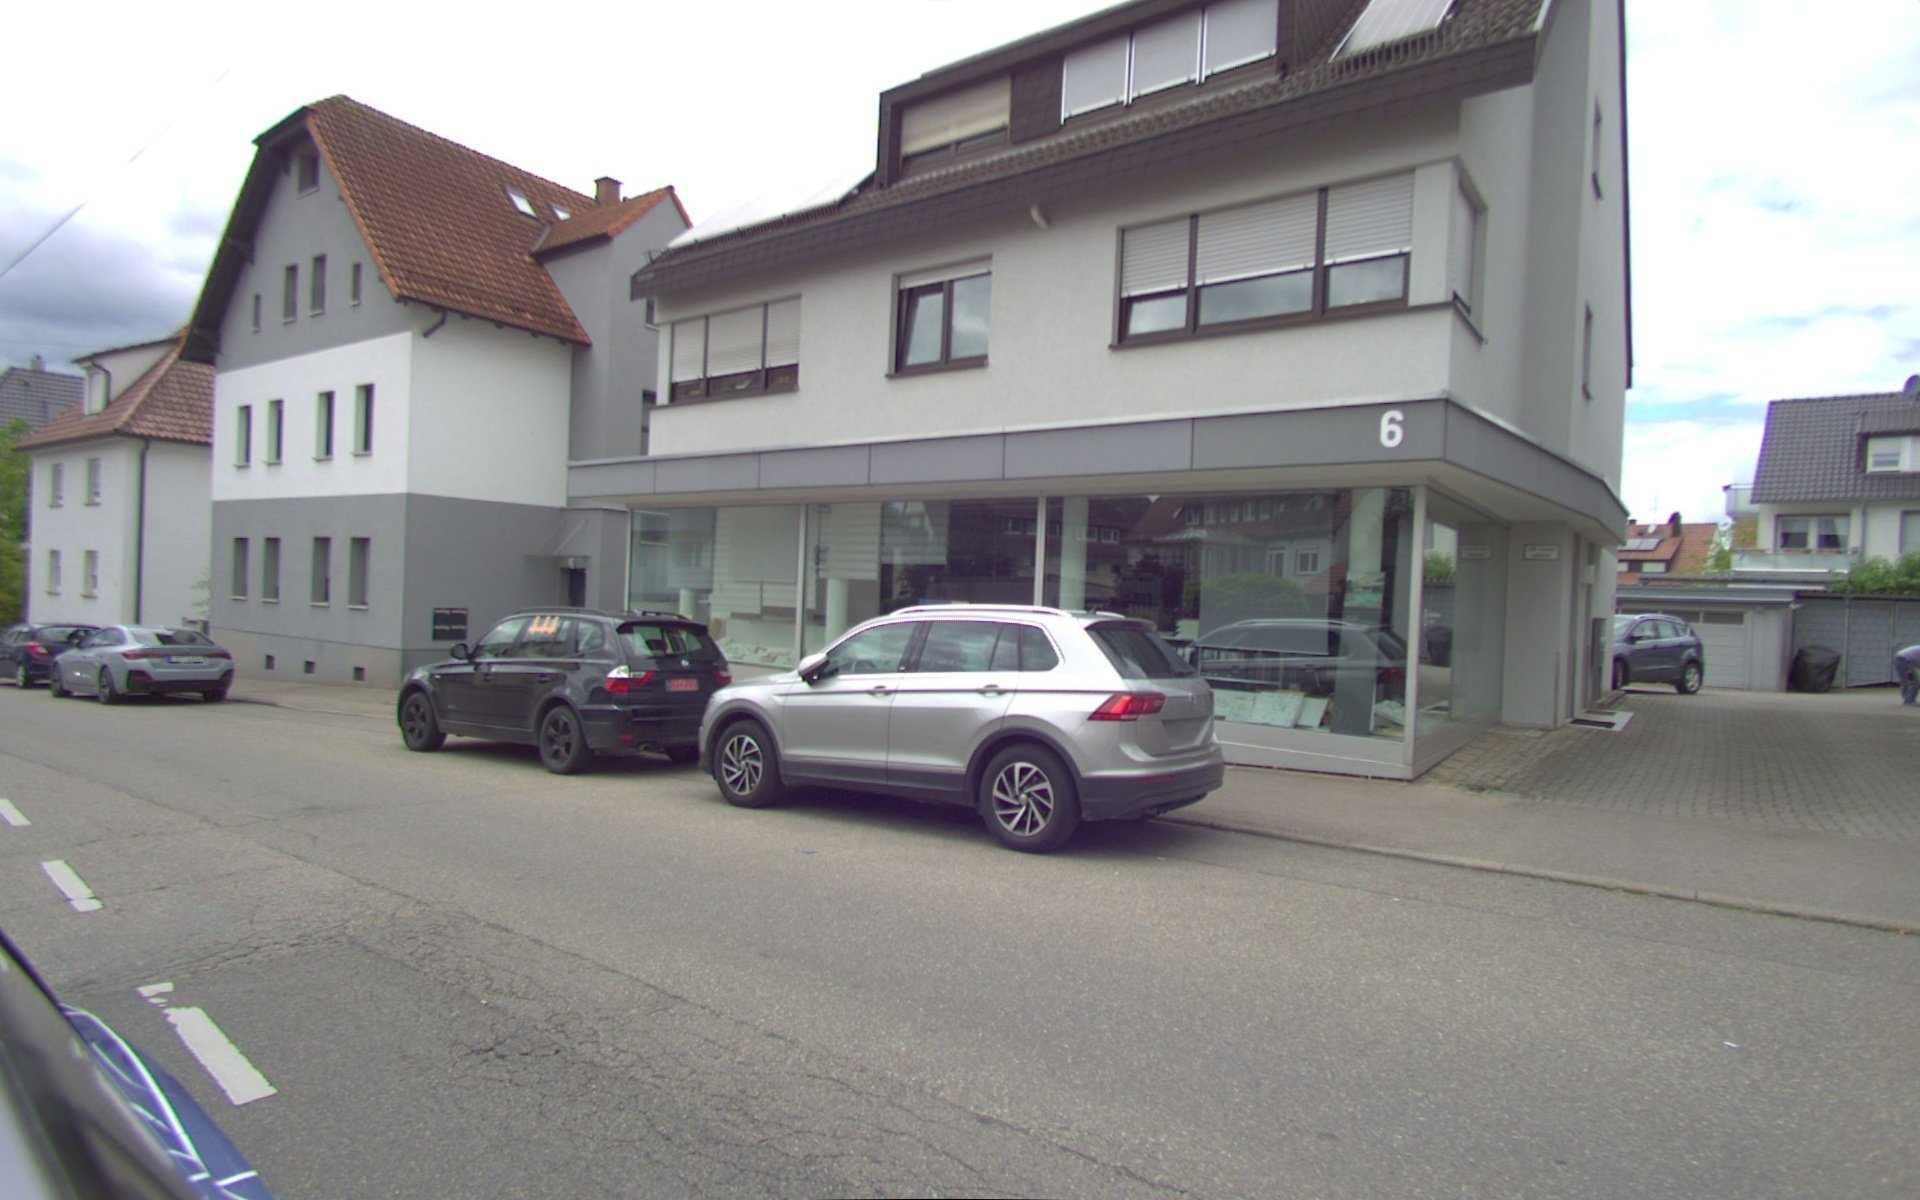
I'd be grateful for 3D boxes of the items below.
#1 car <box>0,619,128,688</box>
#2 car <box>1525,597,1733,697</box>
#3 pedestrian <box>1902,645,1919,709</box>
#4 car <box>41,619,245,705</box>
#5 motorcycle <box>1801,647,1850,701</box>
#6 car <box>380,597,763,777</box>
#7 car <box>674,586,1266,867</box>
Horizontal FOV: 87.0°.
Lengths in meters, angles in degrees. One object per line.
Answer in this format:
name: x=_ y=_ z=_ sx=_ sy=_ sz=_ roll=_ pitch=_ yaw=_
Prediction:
car: x=-21.185 y=1.212 z=23.387 sx=3.987 sy=1.456 sz=1.823 roll=0 pitch=-4 yaw=32
car: x=14.427 y=1.028 z=21.843 sx=3.891 sy=1.985 sz=1.993 roll=2 pitch=-3 yaw=-25
pedestrian: x=18.264 y=1.436 z=18.658 sx=1.305 sy=1.120 sz=1.009 roll=0 pitch=0 yaw=44
car: x=-15.766 y=1.141 z=19.465 sx=4.457 sy=1.456 sz=1.821 roll=0 pitch=-4 yaw=35
motorcycle: x=21.239 y=1.787 z=24.832 sx=0.891 sy=1.173 sz=1.639 roll=0 pitch=0 yaw=41
car: x=-4.431 y=0.857 z=11.308 sx=4.398 sy=1.645 sz=1.821 roll=0 pitch=-3 yaw=35
car: x=-0.060 y=0.796 z=7.963 sx=4.398 sy=1.645 sz=1.821 roll=0 pitch=-3 yaw=35
